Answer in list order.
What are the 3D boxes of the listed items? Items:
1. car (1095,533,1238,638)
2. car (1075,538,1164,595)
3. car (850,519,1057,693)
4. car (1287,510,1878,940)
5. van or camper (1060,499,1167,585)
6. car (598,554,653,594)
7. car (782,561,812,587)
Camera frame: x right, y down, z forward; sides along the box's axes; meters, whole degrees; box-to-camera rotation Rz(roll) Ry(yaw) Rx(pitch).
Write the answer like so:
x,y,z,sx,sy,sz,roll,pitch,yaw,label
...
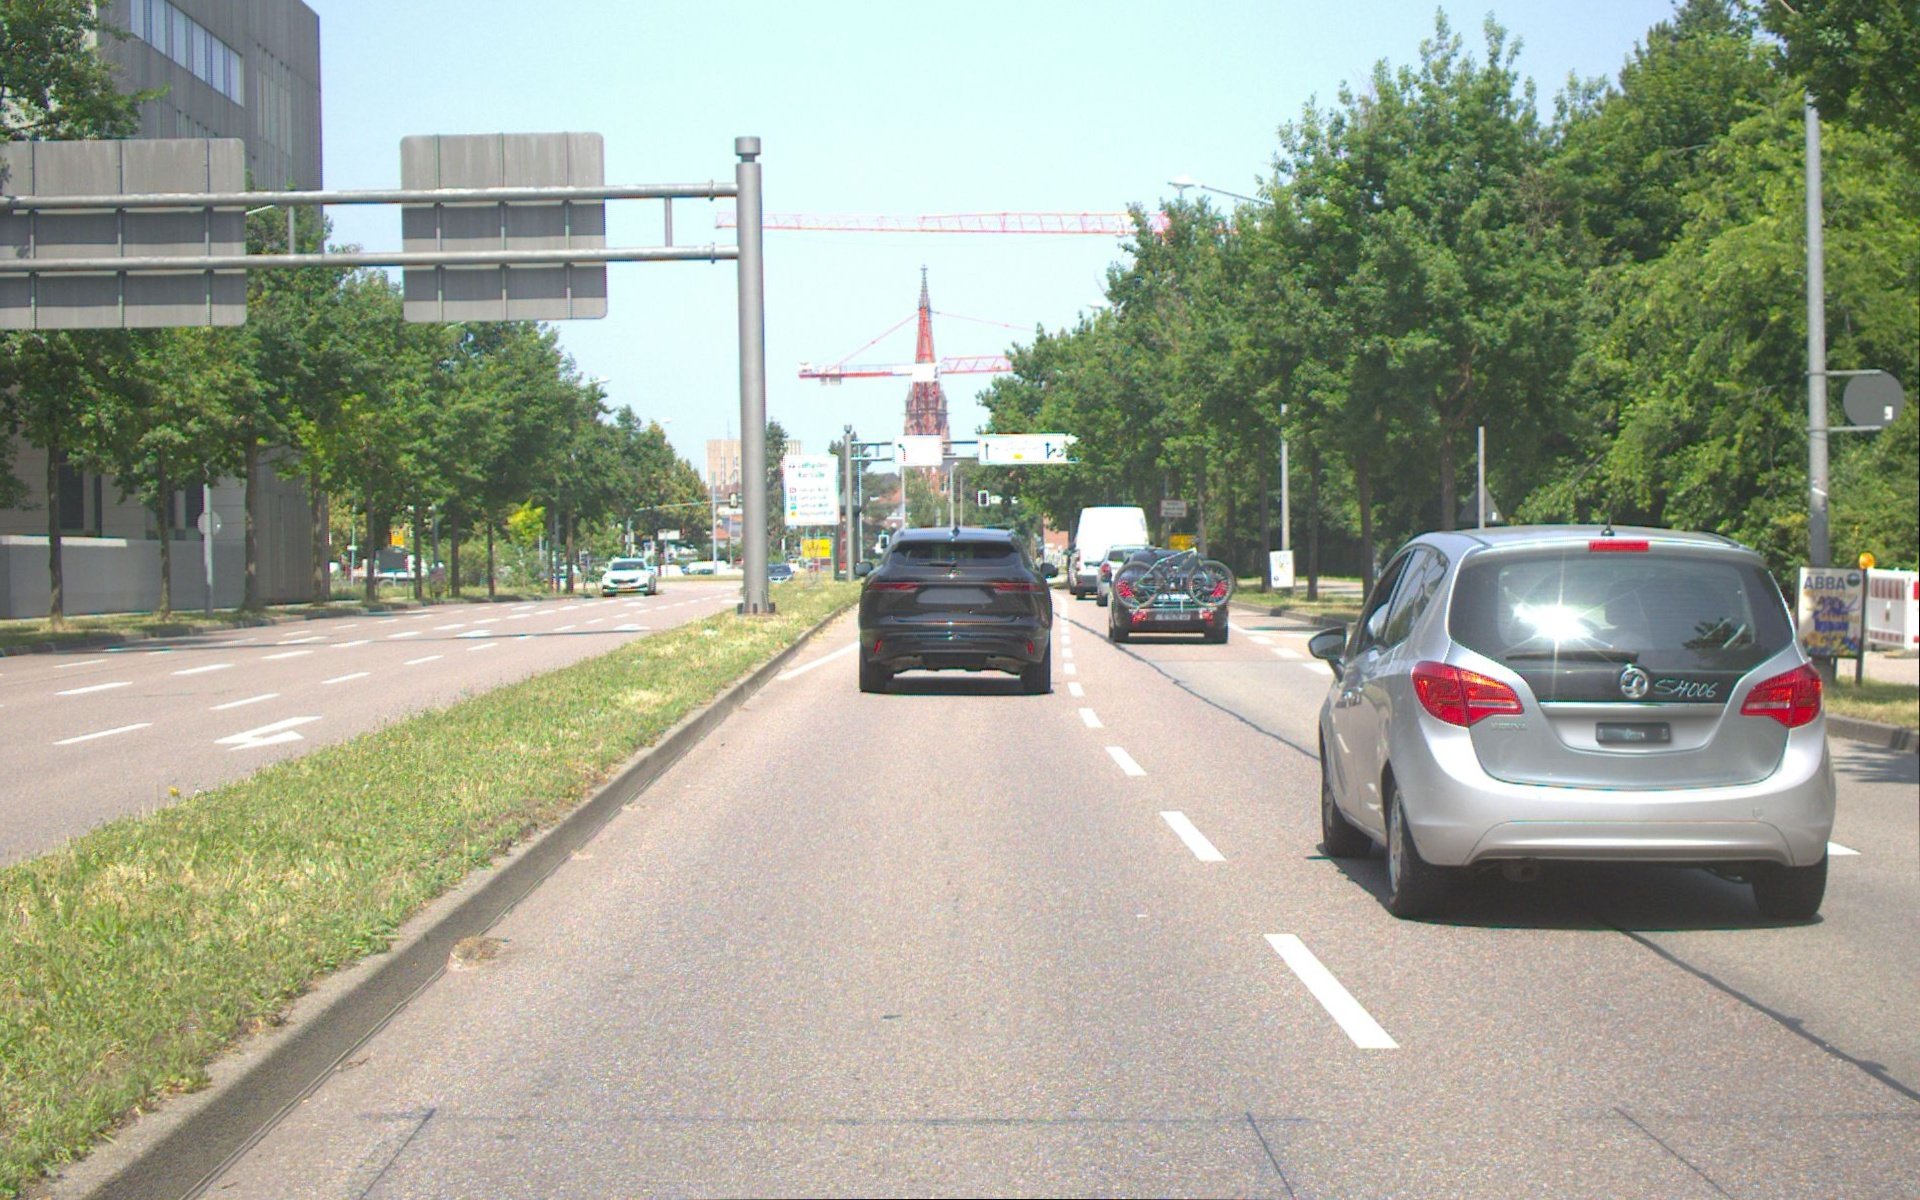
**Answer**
x,y,z,sx,sy,sz,roll,pitch,yaw,label
3.140,-0.233,53.049,2.014,1.512,4.460,-1,1,2,car
3.902,-0.820,84.574,1.654,1.351,4.461,-1,1,-4,car
-0.029,0.025,35.414,1.998,1.684,4.033,0,1,1,car
2.550,0.438,14.997,1.792,1.606,3.891,-1,1,-1,car
4.198,-1.581,94.910,2.493,2.283,4.921,-1,0,-2,van or camper
-12.698,-1.015,130.782,1.810,1.422,4.359,-2,1,-2,car
-9.787,-1.563,206.425,1.707,1.467,3.942,-2,1,-2,car
